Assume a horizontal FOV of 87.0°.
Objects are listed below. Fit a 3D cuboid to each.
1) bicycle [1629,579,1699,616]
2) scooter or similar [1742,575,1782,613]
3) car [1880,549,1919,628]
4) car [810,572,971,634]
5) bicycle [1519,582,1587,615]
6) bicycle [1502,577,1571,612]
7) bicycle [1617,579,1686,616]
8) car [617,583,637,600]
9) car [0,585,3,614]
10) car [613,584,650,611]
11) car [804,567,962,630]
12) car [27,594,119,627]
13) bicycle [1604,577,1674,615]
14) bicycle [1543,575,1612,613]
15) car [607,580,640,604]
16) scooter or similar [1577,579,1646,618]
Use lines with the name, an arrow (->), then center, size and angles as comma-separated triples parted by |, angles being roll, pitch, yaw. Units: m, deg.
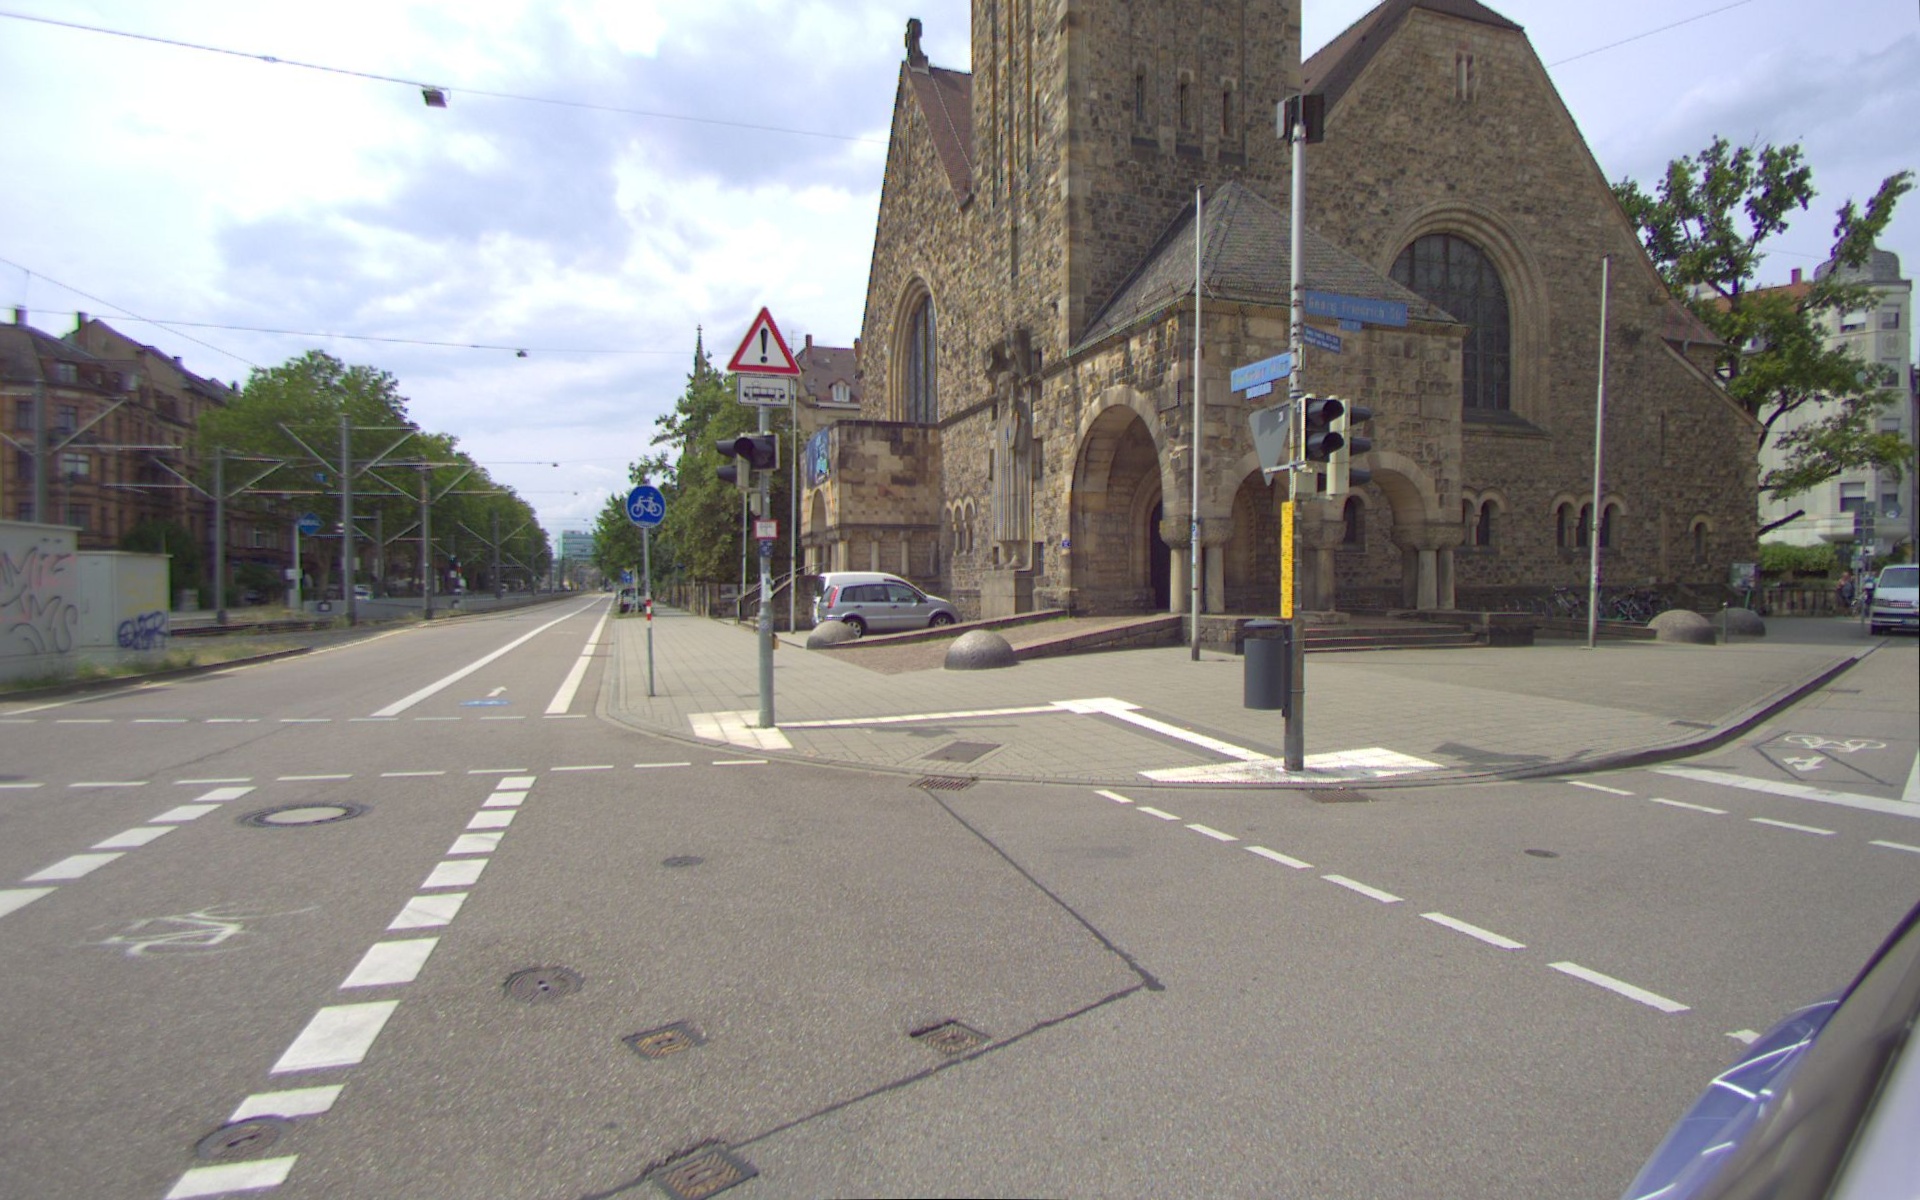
bicycle -> 22.213, -0.104, 31.973 | 0.534, 1.125, 1.786 | 0, 1, -24
scooter or similar -> 26.819, -0.207, 33.837 | 1.414, 1.222, 0.546 | -1, 1, -30
car -> 27.077, -0.334, 28.076 | 5.040, 2.054, 2.016 | -1, 2, -45
car -> -1.892, 0.043, 27.161 | 3.942, 1.562, 2.024 | -1, 1, -18
bicycle -> 17.844, -0.058, 30.503 | 0.534, 0.969, 1.786 | 0, 1, -24
bicycle -> 17.220, -0.173, 30.280 | 0.534, 0.969, 1.786 | 0, 3, -24
bicycle -> 21.639, -0.096, 31.698 | 0.534, 1.125, 1.778 | 0, 1, -24
car -> -28.858, -0.715, 87.704 | 1.488, 1.427, 3.731 | -1, 1, -16
car -> -50.341, 0.049, 50.386 | 1.954, 1.534, 4.629 | -2, 2, -16
car -> -18.651, -0.170, 57.578 | 1.911, 1.417, 4.009 | -2, 2, -17
car -> -2.307, -0.080, 30.172 | 4.328, 1.747, 1.956 | -1, 1, -18
car -> -42.929, 0.496, 49.104 | 1.722, 1.417, 4.009 | -2, 2, -15
bicycle -> 21.079, -0.135, 31.469 | 0.534, 1.125, 1.786 | 0, 1, -24
bicycle -> 18.745, -0.209, 30.761 | 0.534, 1.125, 1.786 | 0, 1, -24
car -> -21.876, -0.557, 65.910 | 1.911, 1.417, 4.009 | -2, 2, -17
scooter or similar -> 19.976, -0.075, 31.065 | 0.534, 1.154, 1.786 | 0, 1, -24
